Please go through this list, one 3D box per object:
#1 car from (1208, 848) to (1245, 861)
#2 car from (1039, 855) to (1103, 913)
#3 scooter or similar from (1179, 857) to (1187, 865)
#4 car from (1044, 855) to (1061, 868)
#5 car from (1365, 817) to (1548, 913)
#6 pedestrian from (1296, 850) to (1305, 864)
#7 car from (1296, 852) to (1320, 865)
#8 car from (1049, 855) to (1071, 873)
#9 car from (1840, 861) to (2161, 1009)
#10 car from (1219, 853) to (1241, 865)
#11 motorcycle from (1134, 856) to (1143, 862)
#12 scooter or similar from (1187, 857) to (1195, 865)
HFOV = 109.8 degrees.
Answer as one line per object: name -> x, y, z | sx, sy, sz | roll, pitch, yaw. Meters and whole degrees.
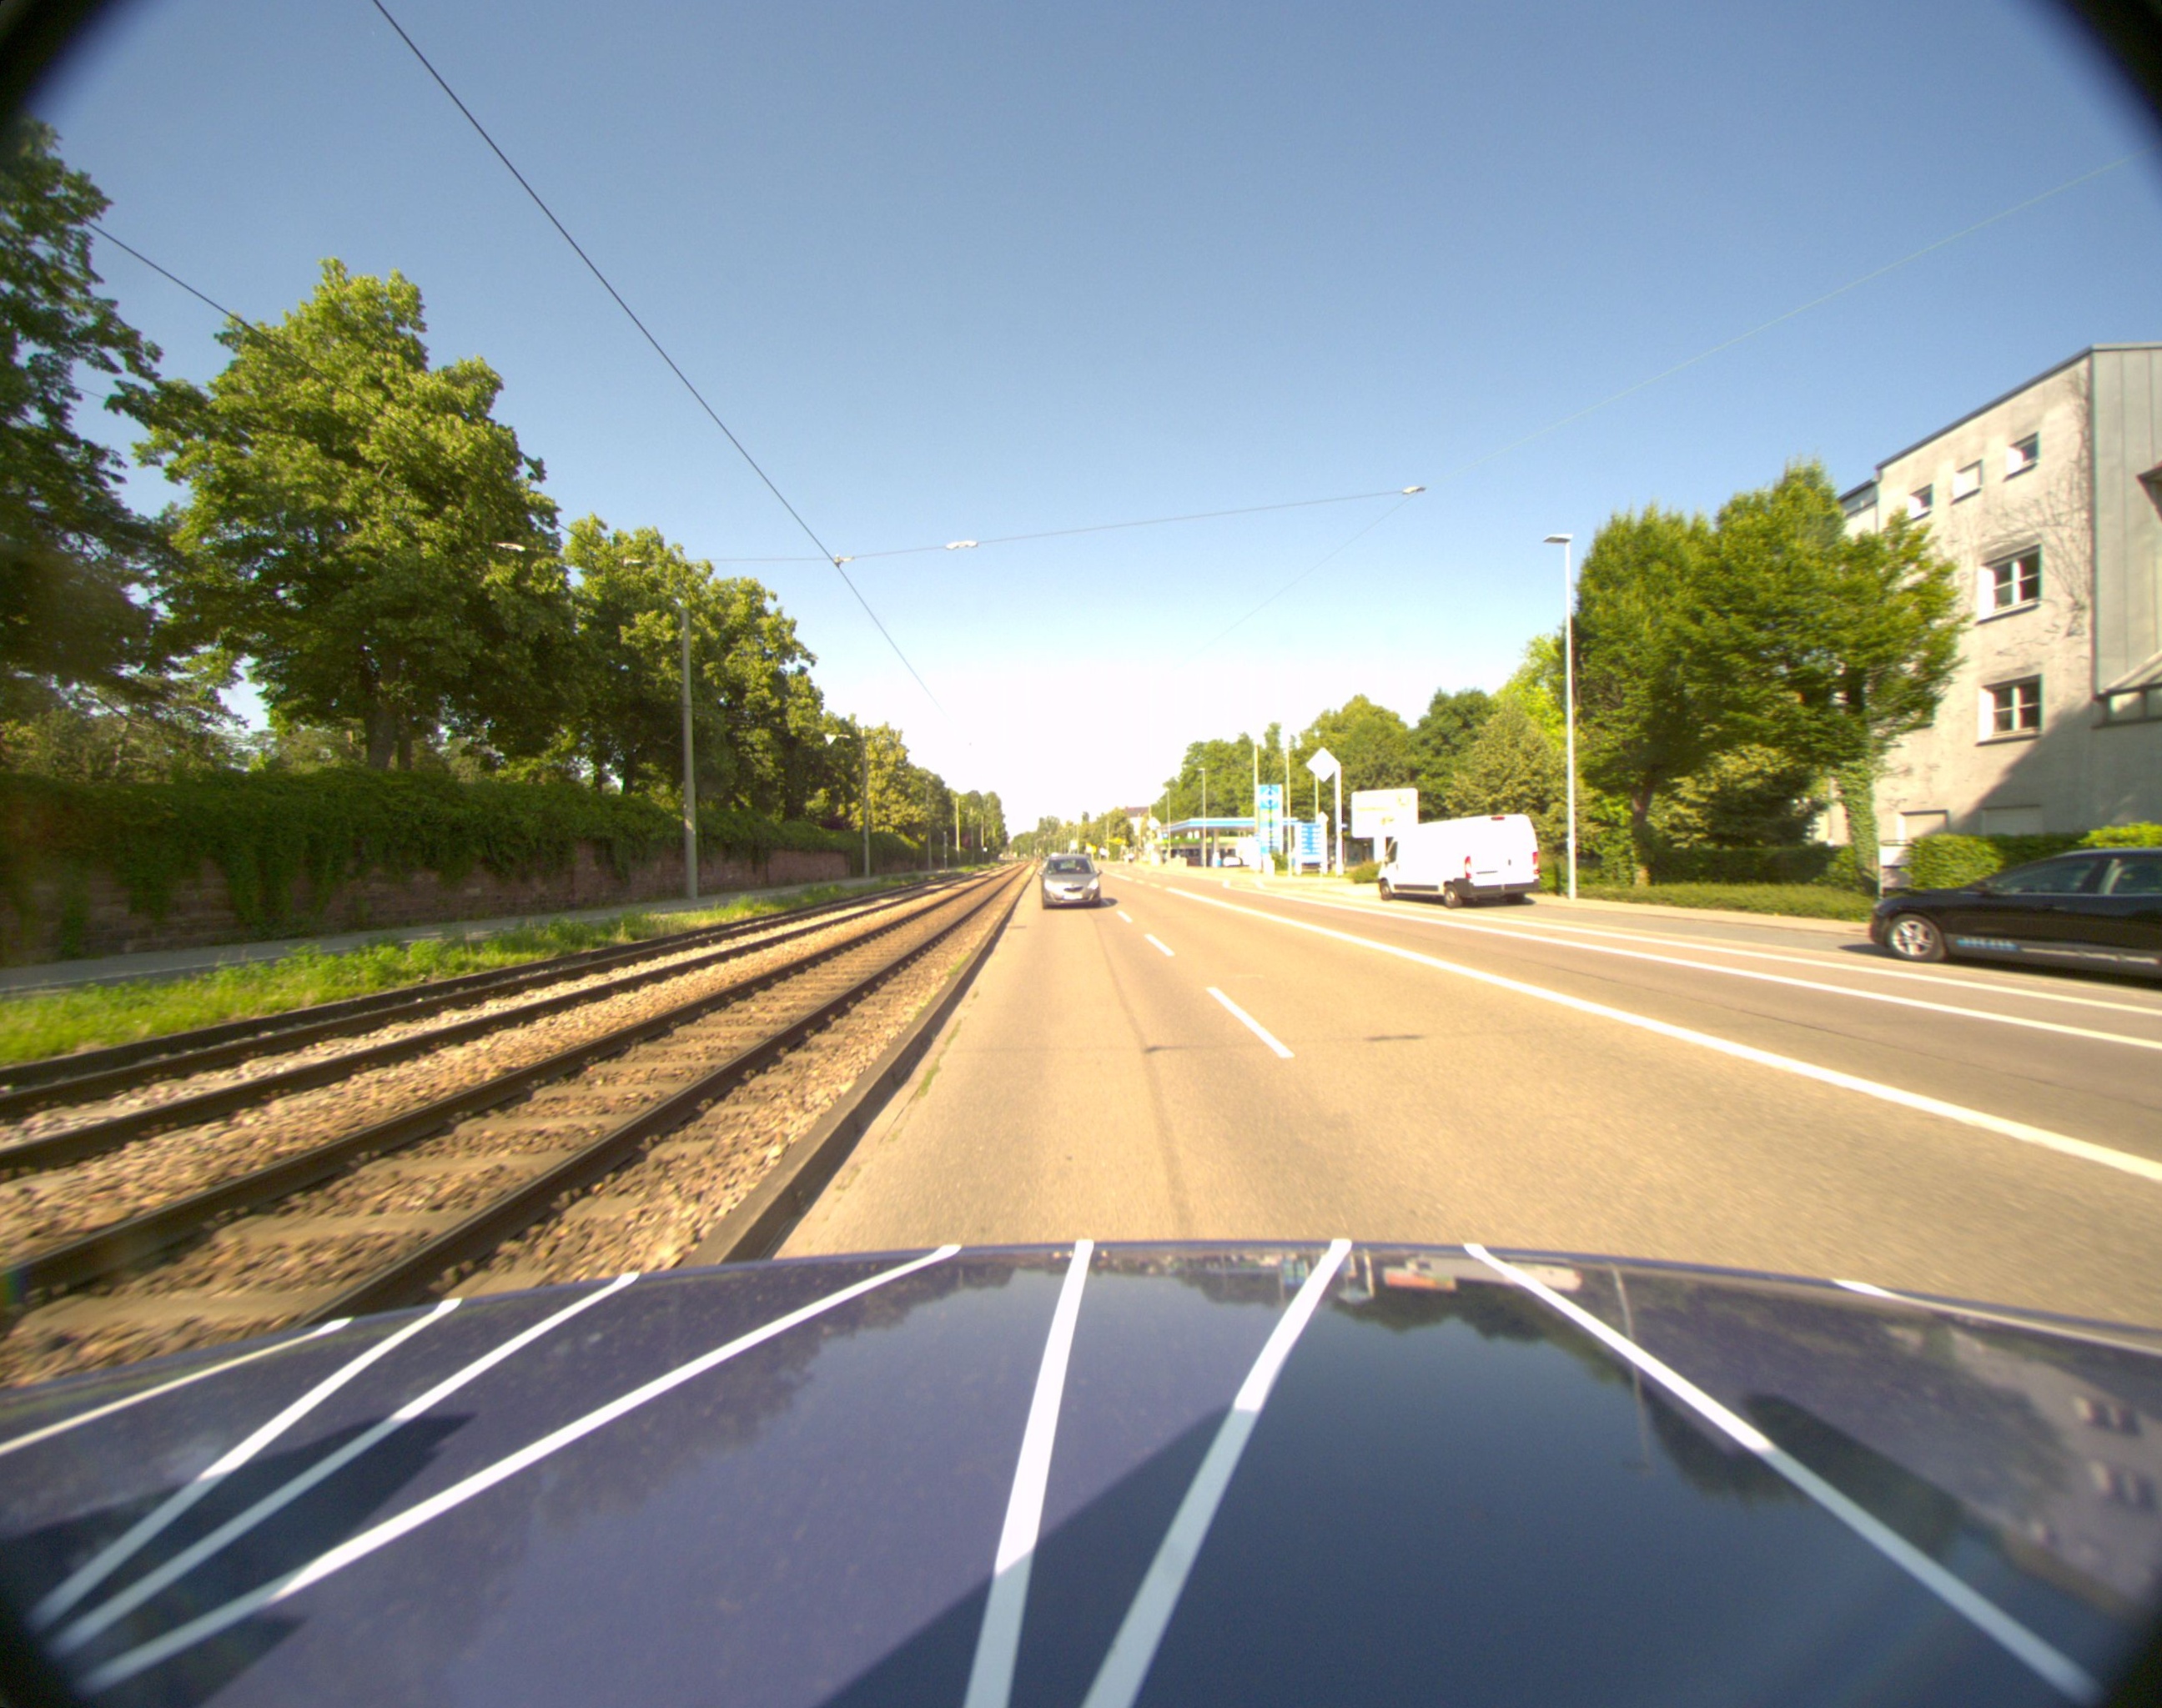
car -> 21.126, 0.087, 110.391 | 5.083, 1.929, 1.857 | 0, 0, 2
car -> -0.378, 0.848, 23.475 | 1.731, 1.574, 3.762 | -2, 1, -4
scooter or similar -> 14.917, 1.069, 110.950 | 1.143, 1.110, 0.350 | 0, 0, 7
car -> -3.122, 0.768, 81.939 | 1.579, 1.306, 3.998 | -2, 0, -6
car -> 11.140, 0.304, 23.277 | 2.158, 2.443, 6.182 | -3, 0, -3
pedestrian -> 26.612, 0.396, 92.099 | 0.818, 1.680, 0.795 | 0, 0, -3
car -> 27.697, 0.526, 92.622 | 1.741, 1.437, 4.000 | 0, 0, 0
car -> -1.866, 0.834, 66.863 | 1.710, 1.487, 3.998 | -2, 0, -4
car -> 11.512, 0.813, 8.322 | 1.656, 1.416, 4.712 | -1, 0, -1
car -> 18.294, 0.576, 93.234 | 1.741, 1.482, 4.274 | 0, 0, -2
motorcycle -> 11.689, 0.989, 154.400 | 0.732, 1.220, 2.268 | 0, 0, 31
scooter or similar -> 16.039, 1.053, 110.905 | 1.031, 1.103, 0.350 | 0, 0, 4
